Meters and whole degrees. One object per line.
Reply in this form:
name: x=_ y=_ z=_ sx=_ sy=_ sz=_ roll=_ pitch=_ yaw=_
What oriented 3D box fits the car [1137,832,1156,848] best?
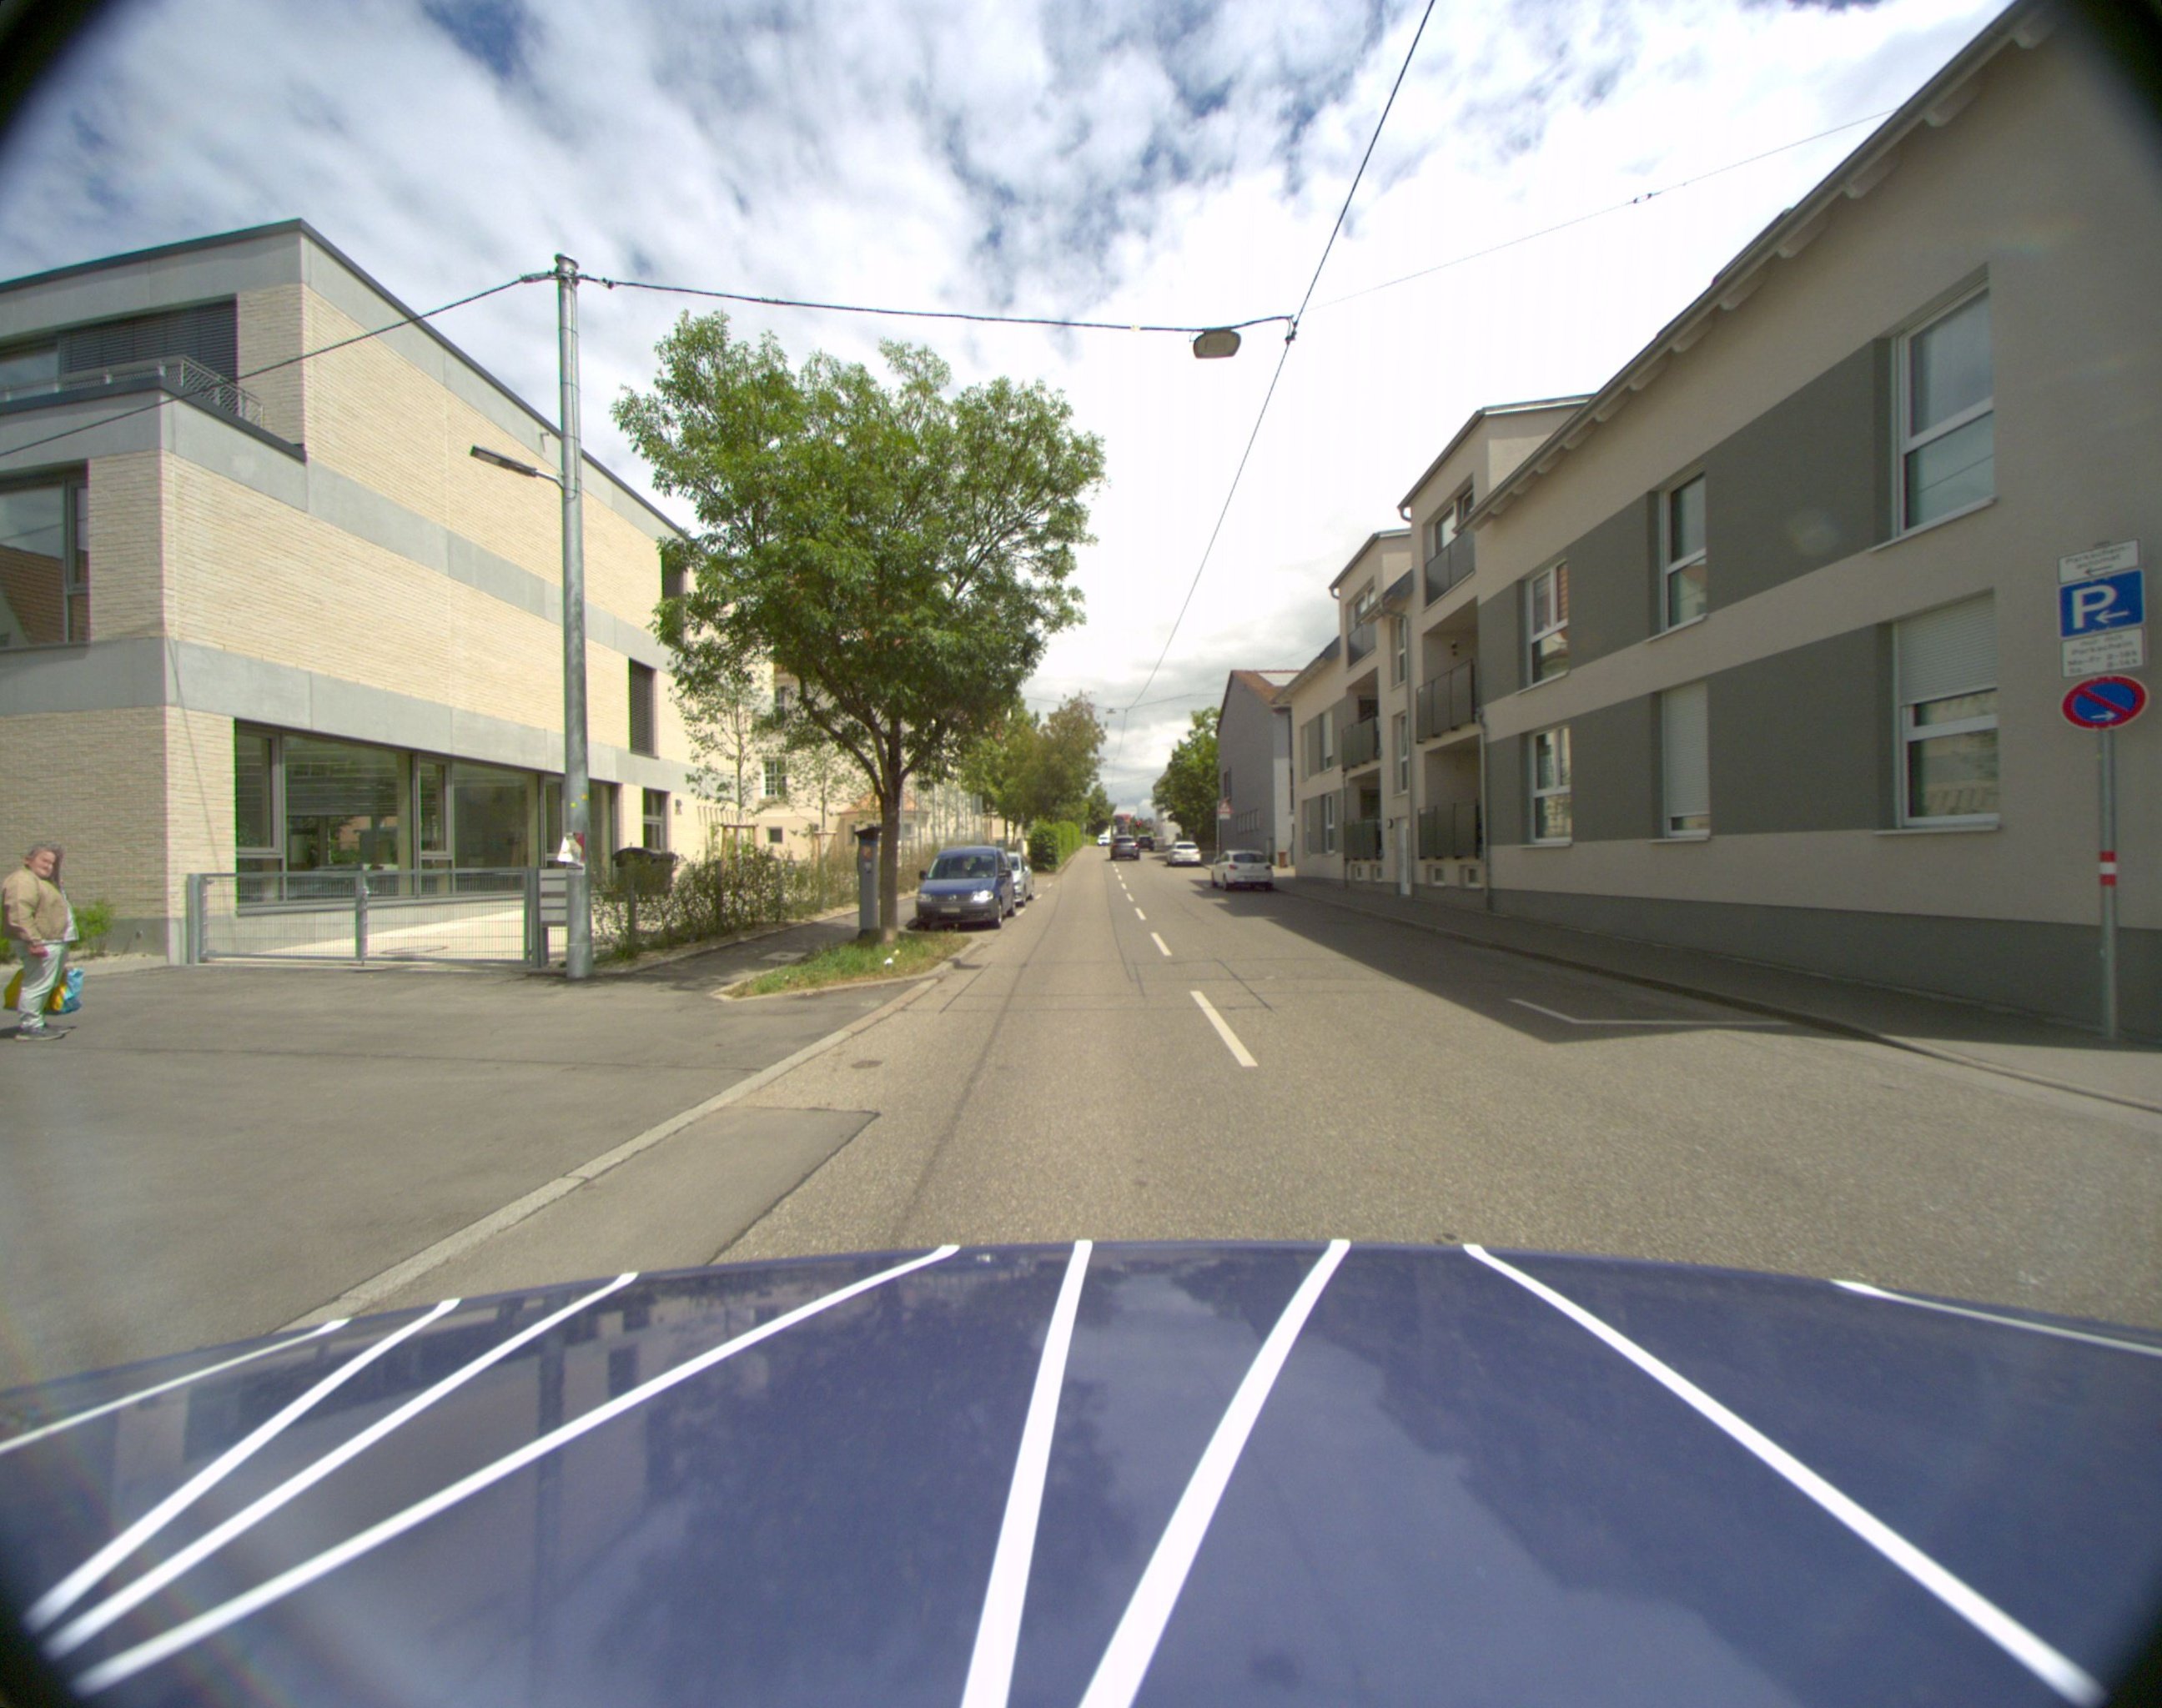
car: x=6.726 y=-1.451 z=78.545 sx=1.672 sy=1.545 sz=3.964 roll=0 pitch=2 yaw=1

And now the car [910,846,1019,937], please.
car: x=-2.495 y=0.720 z=17.226 sx=1.698 sy=1.733 sz=4.158 roll=-1 pitch=2 yaw=1

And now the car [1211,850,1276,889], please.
car: x=5.836 y=0.529 z=27.603 sx=1.665 sy=1.322 sz=3.474 roll=-1 pitch=0 yaw=1

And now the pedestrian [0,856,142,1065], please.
pedestrian: x=-9.129 y=0.885 z=6.614 sx=0.775 sy=1.693 sz=0.829 roll=-2 pitch=1 yaw=0

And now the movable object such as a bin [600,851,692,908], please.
movable object such as a bin: x=-11.570 y=0.642 z=20.301 sx=1.351 sy=1.438 sz=1.807 roll=-1 pitch=0 yaw=2

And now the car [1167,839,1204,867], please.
car: x=6.190 y=-0.098 z=45.542 sx=1.737 sy=1.480 sz=4.065 roll=0 pitch=2 yaw=1

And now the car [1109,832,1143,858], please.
car: x=3.188 y=-0.615 z=54.630 sx=1.946 sy=1.709 sz=4.595 roll=-1 pitch=0 yaw=-3

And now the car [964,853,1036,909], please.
car: x=-2.355 y=0.752 z=22.851 sx=1.677 sy=1.510 sz=3.670 roll=-1 pitch=0 yaw=1

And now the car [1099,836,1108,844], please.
car: x=3.564 y=-2.159 z=120.772 sx=1.298 sy=1.148 sz=2.983 roll=-3 pitch=-1 yaw=1
